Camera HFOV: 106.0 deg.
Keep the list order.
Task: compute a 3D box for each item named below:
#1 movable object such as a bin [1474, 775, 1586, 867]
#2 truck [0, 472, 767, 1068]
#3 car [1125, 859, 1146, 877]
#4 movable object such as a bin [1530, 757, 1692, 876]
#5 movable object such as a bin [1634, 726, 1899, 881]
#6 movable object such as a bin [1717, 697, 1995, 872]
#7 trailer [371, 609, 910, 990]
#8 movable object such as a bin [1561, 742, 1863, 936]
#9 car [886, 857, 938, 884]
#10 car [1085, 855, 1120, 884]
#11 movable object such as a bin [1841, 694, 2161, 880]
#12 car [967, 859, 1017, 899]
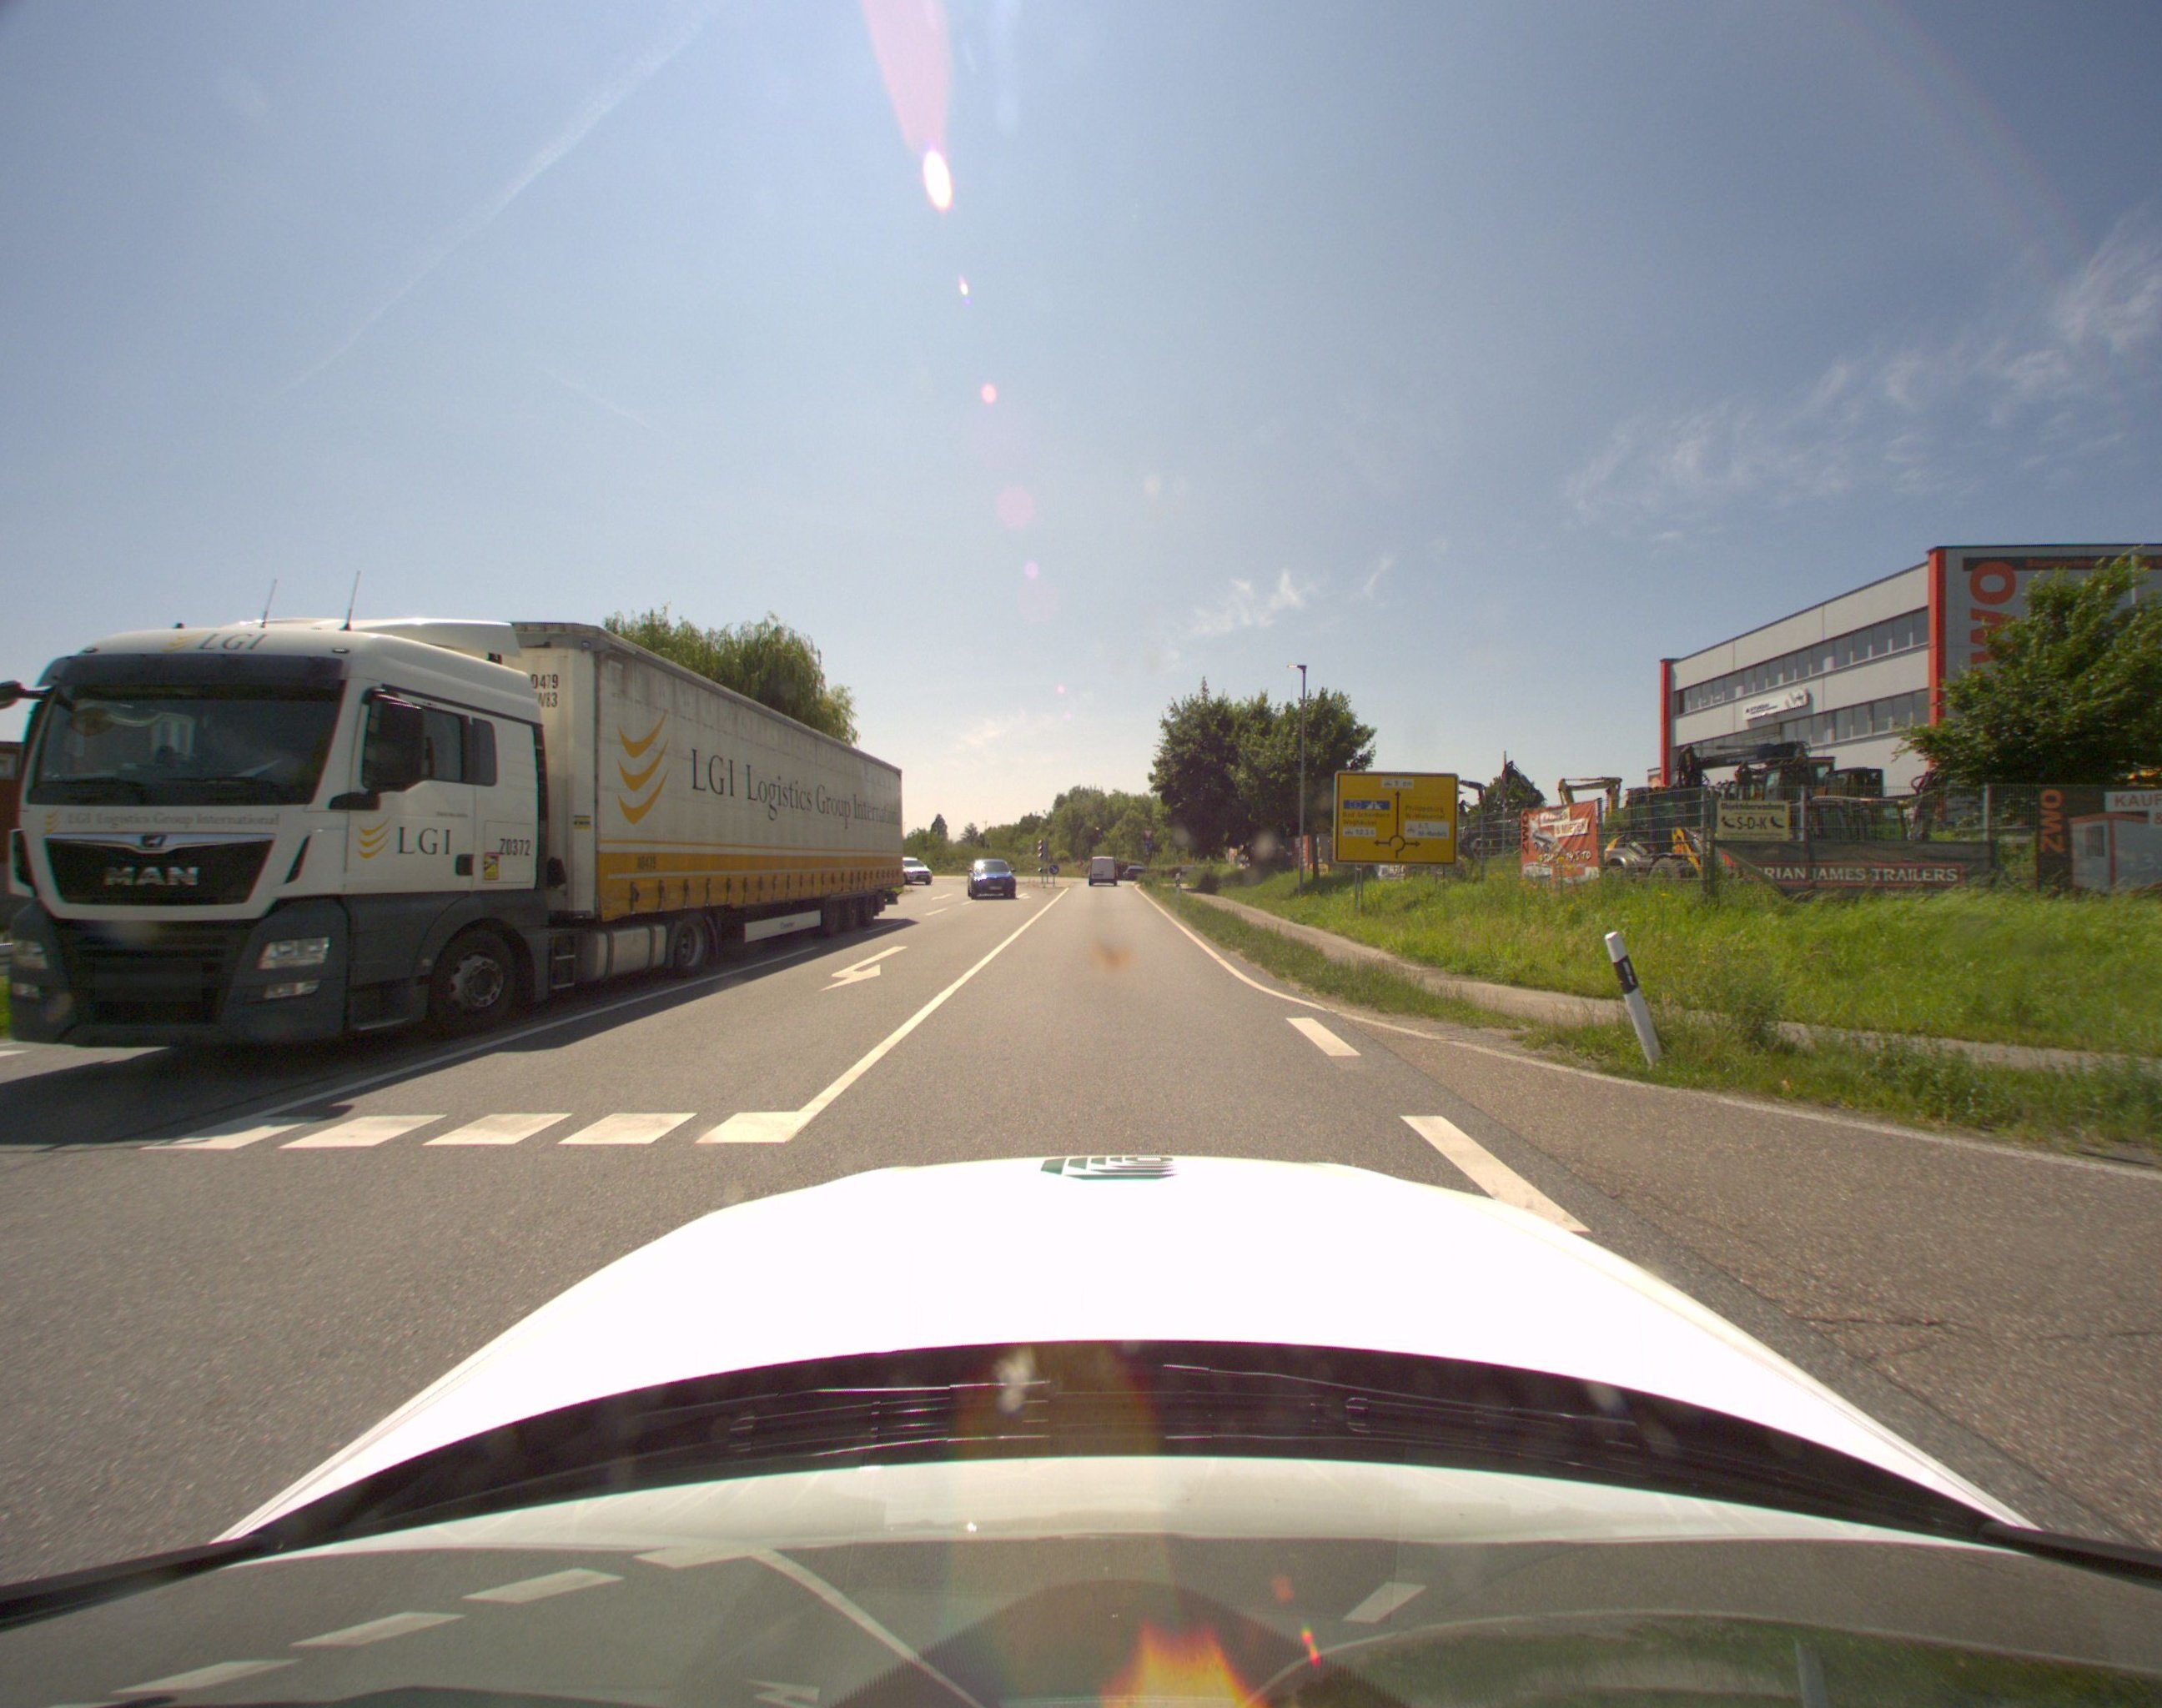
[{"bbox_3d":[26.494,-1.899,48.210,5.061,5.055,2.781,2,-2,4],"label":"movable object such as a bin"},{"bbox_3d":[-6.296,-0.592,9.064,2.781,4.056,6.753,2,0,0],"label":"truck"},{"bbox_3d":[5.053,1.294,75.733,1.798,1.556,4.002,1,1,2],"label":"car"},{"bbox_3d":[25.345,-1.705,39.208,5.690,5.270,3.225,2,-2,4],"label":"movable object such as a bin"},{"bbox_3d":[25.136,-1.730,30.244,6.560,5.148,3.810,2,-2,4],"label":"movable object such as a bin"},{"bbox_3d":[24.776,-2.122,26.361,5.891,5.106,3.112,2,-2,4],"label":"movable object such as a bin"},{"bbox_3d":[-6.236,-0.610,15.661,2.781,4.056,13.502,2,0,0],"label":"trailer"},{"bbox_3d":[12.388,-0.175,16.587,2.314,3.250,5.103,2,-2,2],"label":"movable object such as a bin"},{"bbox_3d":[-10.873,1.065,52.250,1.914,1.659,3.959,1,-1,-33],"label":"car"},{"bbox_3d":[1.283,0.941,50.828,1.899,1.732,3.818,1,-1,-2],"label":"car"},{"bbox_3d":[23.349,-1.578,20.847,5.061,4.275,2.837,2,-2,4],"label":"movable object such as a bin"},{"bbox_3d":[-3.805,1.009,34.435,1.847,1.567,3.986,-1,0,-10],"label":"car"}]
